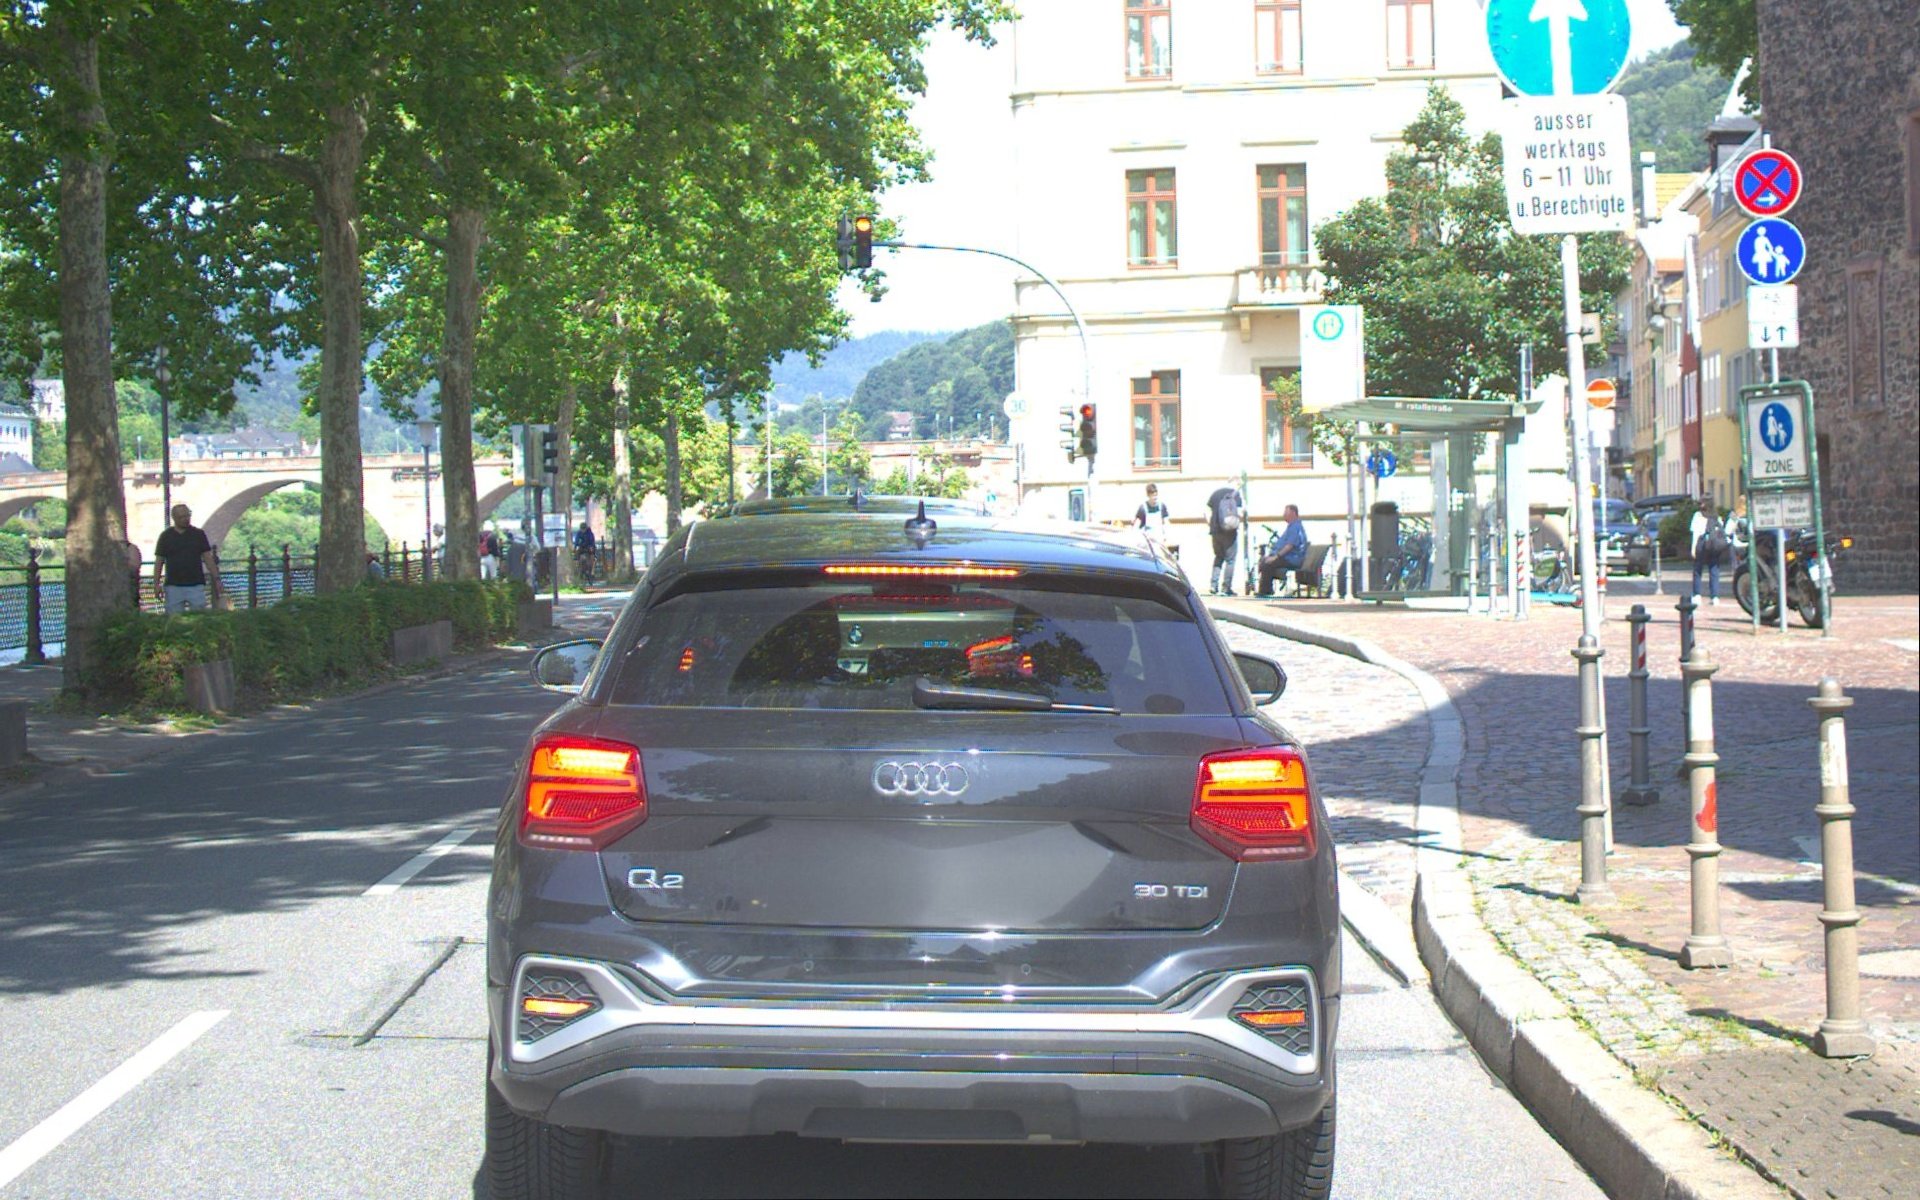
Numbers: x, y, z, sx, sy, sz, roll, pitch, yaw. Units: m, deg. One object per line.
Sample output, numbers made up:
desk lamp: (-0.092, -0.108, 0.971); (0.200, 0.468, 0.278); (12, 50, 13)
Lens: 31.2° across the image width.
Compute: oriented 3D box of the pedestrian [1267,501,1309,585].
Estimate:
pedestrian: (4.766, -0.829, 49.930); (0.546, 1.197, 0.522); (1, 1, 1)

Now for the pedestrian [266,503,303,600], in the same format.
pedestrian: (-10.774, -0.770, 54.850); (0.497, 1.532, 0.680); (1, 1, -7)

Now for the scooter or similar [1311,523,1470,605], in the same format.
scooter or similar: (5.184, -0.436, 41.432); (1.845, 0.960, 0.429); (1, 1, -1)

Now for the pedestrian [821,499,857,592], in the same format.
pedestrian: (-2.049, -0.921, 58.231); (0.557, 1.552, 0.660); (0, 1, 1)

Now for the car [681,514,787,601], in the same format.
car: (-4.184, -0.814, 64.080); (1.615, 1.518, 3.476); (-2, 1, 1)

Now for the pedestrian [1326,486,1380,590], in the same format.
pedestrian: (5.940, -0.935, 51.976); (0.747, 1.552, 0.588); (0, 1, 1)

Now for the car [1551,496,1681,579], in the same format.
car: (14.097, -1.341, 74.116); (1.993, 1.710, 4.000); (1, 1, 0)

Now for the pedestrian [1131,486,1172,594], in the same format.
pedestrian: (2.772, -0.869, 49.826); (0.557, 1.552, 0.660); (0, 1, 1)

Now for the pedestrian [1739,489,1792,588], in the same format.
pedestrian: (12.460, -0.950, 53.199); (0.658, 1.512, 0.548); (1, 1, 1)

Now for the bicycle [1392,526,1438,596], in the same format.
bicycle: (6.456, -0.556, 48.792); (0.450, 0.971, 1.400); (1, 1, 0)

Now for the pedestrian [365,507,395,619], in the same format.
pedestrian: (-10.109, -0.645, 59.941); (0.499, 1.952, 0.439); (0, 1, -7)

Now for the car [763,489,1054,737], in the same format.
car: (-0.336, 0.038, 23.849); (1.801, 1.518, 3.716); (-2, 1, 0)

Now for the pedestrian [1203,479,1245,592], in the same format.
pedestrian: (3.848, -0.942, 50.152); (0.557, 1.627, 0.660); (0, 1, 1)

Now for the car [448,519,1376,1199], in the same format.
car: (-0.144, 0.561, 8.349); (1.748, 1.489, 3.629); (1, 1, -2)

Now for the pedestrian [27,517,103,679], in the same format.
pedestrian: (-9.553, -0.027, 36.725); (0.645, 1.711, 0.665); (1, 1, -3)

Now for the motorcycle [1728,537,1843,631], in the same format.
motorcycle: (7.656, -0.161, 31.958); (0.483, 0.815, 2.280); (-2, 1, 0)

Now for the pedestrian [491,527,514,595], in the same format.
pedestrian: (-9.589, -0.814, 72.015); (0.409, 1.420, 0.457); (1, 1, -2)

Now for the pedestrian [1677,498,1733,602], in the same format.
pedestrian: (10.788, -0.731, 49.796); (0.658, 1.488, 0.548); (1, 1, 1)

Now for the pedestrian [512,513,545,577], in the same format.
pedestrian: (-8.695, -1.099, 69.272); (0.591, 1.274, 0.525); (1, 1, 0)

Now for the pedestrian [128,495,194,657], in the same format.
pedestrian: (-8.719, -0.265, 37.519); (0.563, 1.735, 0.665); (-1, 1, -3)

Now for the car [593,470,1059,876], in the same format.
car: (-0.533, 0.252, 15.336); (1.801, 1.557, 3.716); (1, 1, 0)

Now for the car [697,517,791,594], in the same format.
car: (-4.464, -0.951, 71.560); (1.615, 1.518, 3.476); (-2, 1, 1)

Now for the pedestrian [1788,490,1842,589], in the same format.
pedestrian: (13.222, -0.936, 53.170); (0.658, 1.512, 0.627); (1, 1, 1)
